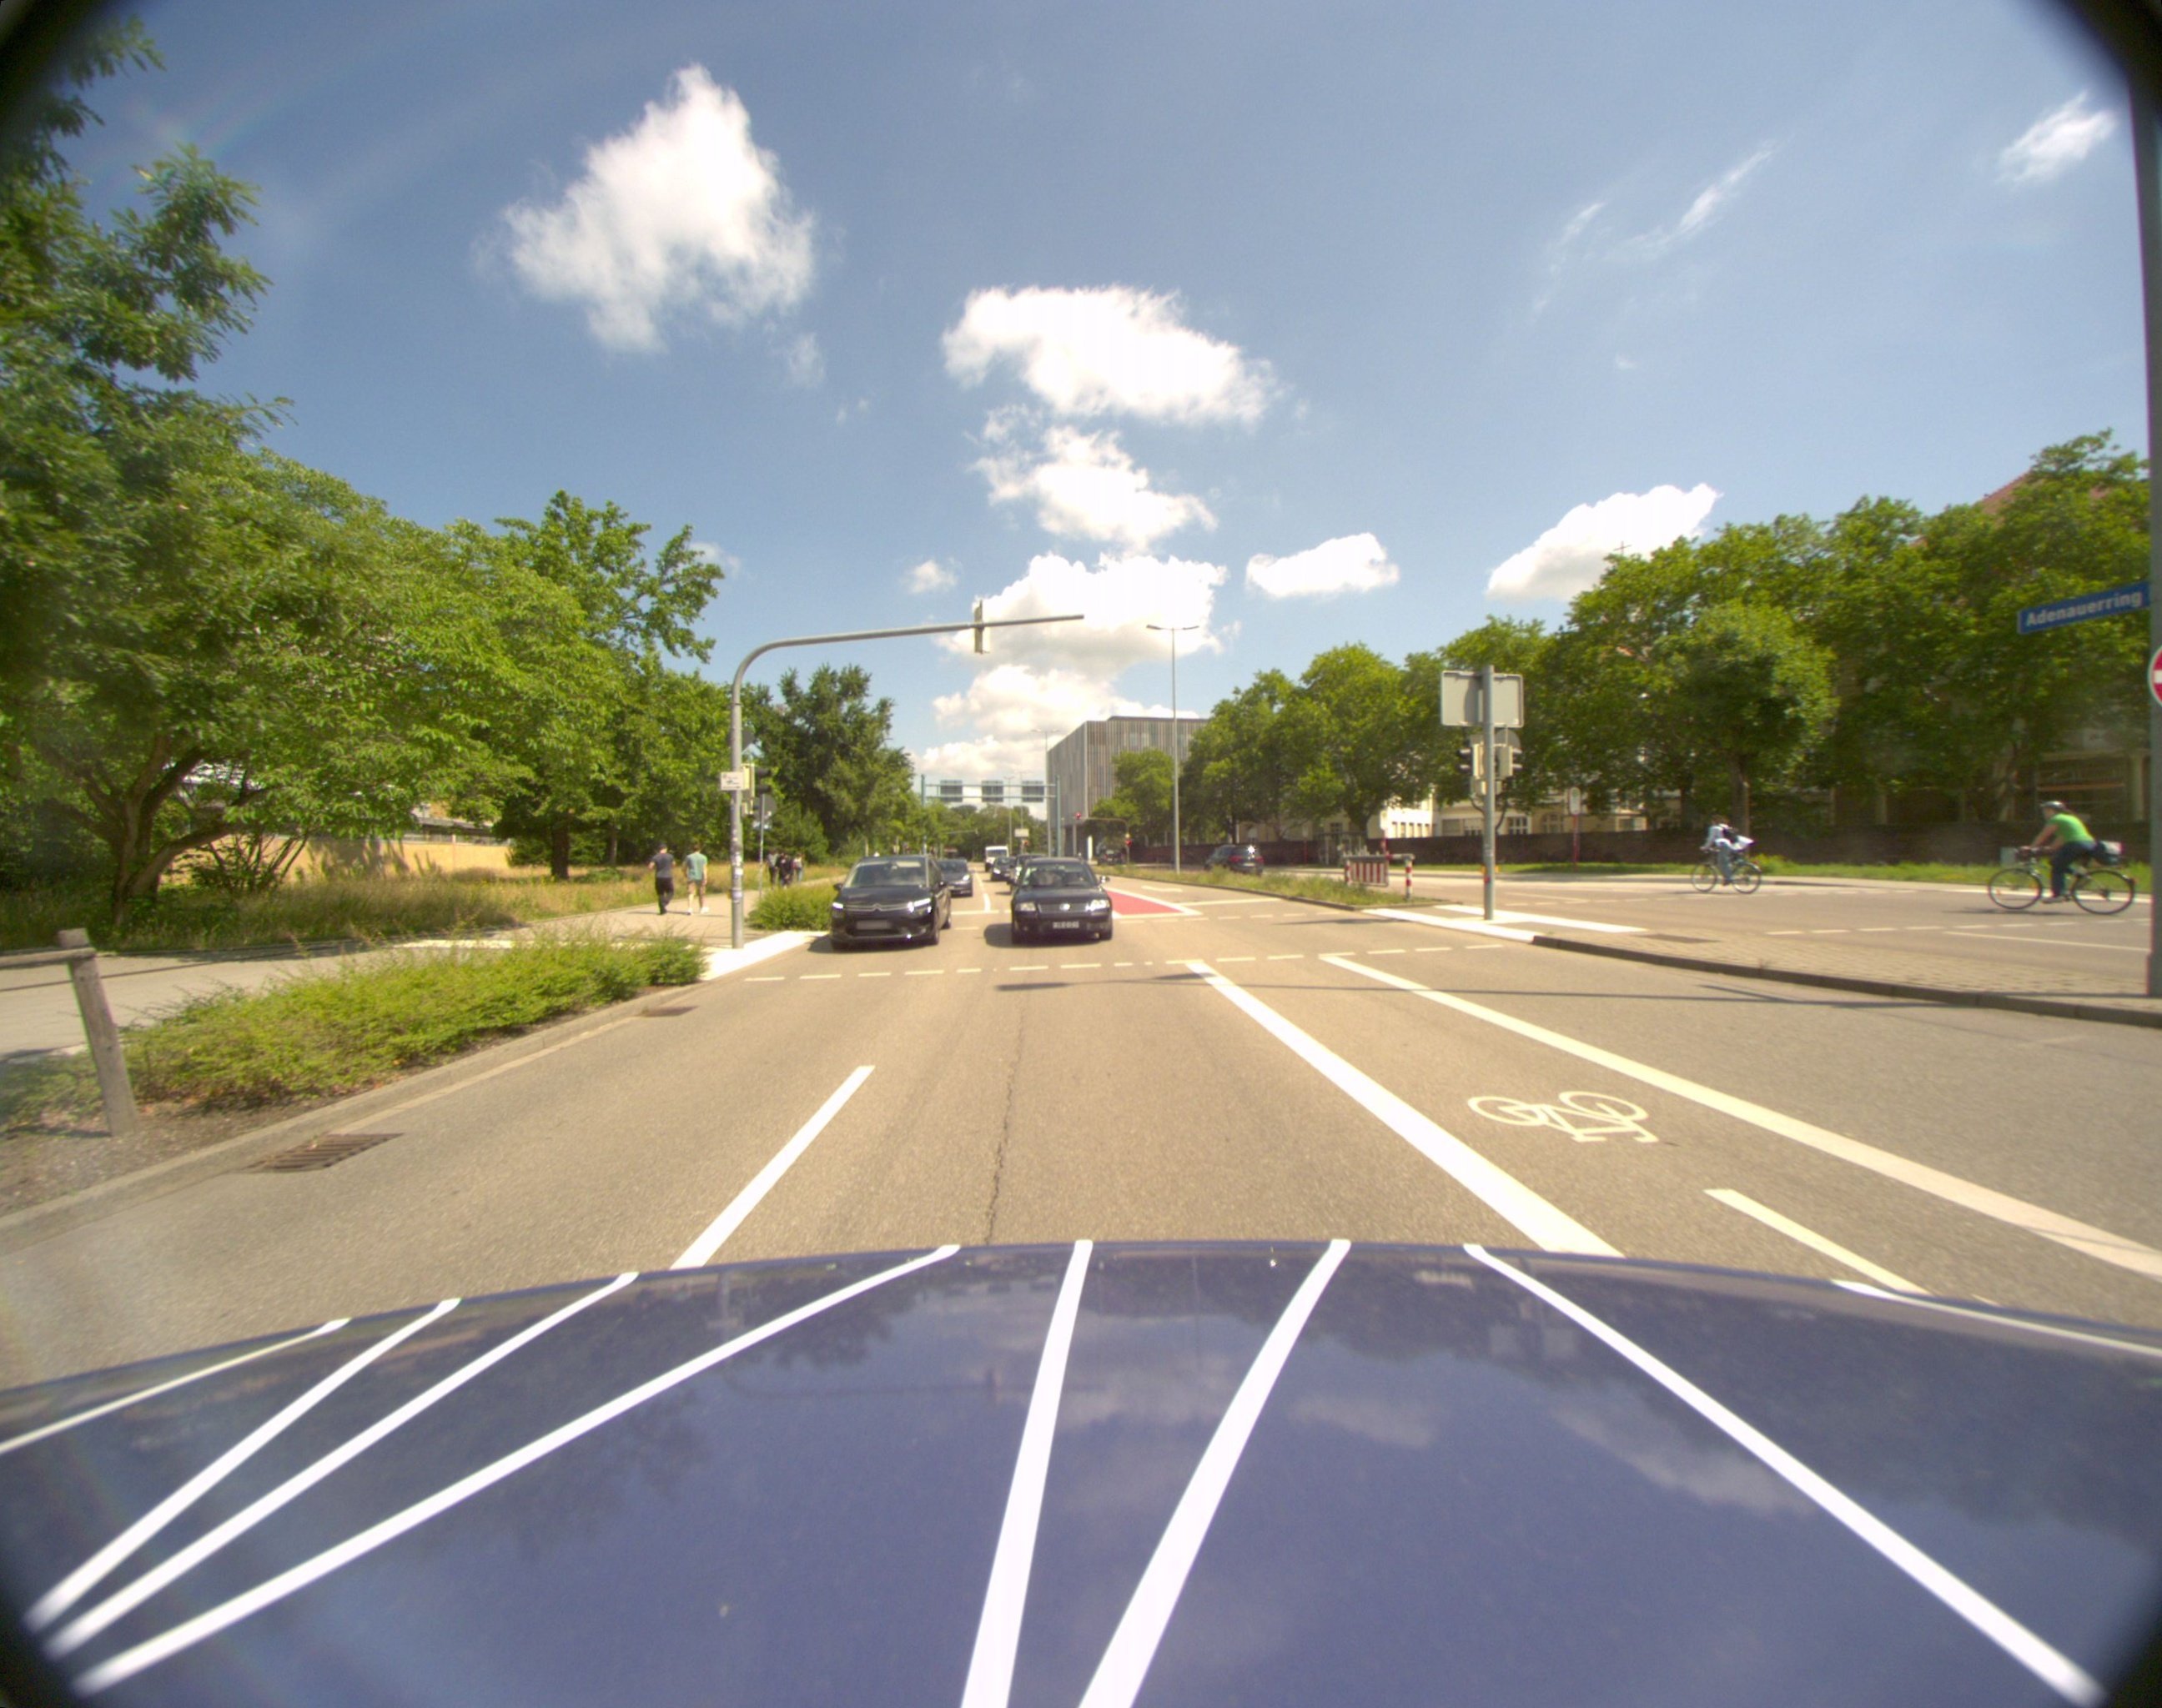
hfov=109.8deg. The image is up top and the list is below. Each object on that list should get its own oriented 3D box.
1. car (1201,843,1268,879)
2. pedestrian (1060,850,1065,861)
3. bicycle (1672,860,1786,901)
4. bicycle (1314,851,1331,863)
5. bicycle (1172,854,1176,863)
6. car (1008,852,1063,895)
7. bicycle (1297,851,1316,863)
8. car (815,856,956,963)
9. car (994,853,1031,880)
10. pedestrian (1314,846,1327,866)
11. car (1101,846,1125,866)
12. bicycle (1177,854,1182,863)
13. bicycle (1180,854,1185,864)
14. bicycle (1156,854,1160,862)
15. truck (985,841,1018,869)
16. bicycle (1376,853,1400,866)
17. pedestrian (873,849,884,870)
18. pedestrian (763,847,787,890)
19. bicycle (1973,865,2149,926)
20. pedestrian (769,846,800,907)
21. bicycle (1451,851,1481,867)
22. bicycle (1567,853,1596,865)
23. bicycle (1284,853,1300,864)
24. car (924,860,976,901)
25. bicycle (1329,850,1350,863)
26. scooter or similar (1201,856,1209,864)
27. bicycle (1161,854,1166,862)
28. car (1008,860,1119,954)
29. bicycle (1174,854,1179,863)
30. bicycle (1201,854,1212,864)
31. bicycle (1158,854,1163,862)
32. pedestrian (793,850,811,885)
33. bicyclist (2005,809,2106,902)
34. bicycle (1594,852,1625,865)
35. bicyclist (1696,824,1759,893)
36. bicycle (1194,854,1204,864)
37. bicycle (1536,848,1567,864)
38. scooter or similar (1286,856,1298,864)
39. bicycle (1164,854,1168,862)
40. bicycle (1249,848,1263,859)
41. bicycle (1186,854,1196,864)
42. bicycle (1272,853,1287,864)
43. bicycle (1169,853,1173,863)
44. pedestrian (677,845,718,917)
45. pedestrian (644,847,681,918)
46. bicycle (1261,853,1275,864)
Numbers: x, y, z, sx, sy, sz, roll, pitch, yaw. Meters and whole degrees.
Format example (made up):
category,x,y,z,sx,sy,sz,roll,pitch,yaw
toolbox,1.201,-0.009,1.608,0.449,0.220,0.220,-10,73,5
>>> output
category,x,y,z,sx,sy,sz,roll,pitch,yaw
car,7.468,0.351,37.368,1.887,1.614,4.152,-2,0,-9
pedestrian,-3.235,0.324,131.719,0.632,1.907,0.718,-2,2,-12
bicycle,15.376,0.608,18.121,0.778,0.884,2.107,-1,0,-6
bicycle,21.139,0.271,66.548,0.398,1.037,1.636,-1,1,-28
bicycle,11.221,0.498,91.633,0.382,1.101,1.672,-1,0,12
car,-1.924,0.741,30.696,1.753,1.496,4.516,-3,0,-9
bicycle,20.268,0.287,68.212,0.398,1.037,1.954,-1,1,-26
car,-3.524,0.900,14.535,1.863,1.613,4.518,-3,0,-6
car,-4.139,0.719,45.472,1.753,1.496,4.516,-3,0,-10
pedestrian,20.267,0.162,64.259,0.724,1.602,0.779,-1,1,-38
car,3.622,0.231,87.400,2.215,2.158,4.518,0,0,-5
bicycle,11.696,0.550,90.014,0.382,1.101,1.672,-1,0,12
bicycle,11.952,0.554,89.290,0.382,1.101,1.672,-1,0,12
bicycle,9.776,0.479,96.350,0.329,1.012,1.672,-1,0,12
truck,-7.157,0.119,67.926,2.464,2.287,5.811,-3,0,-9
bicycle,24.342,0.443,60.261,0.398,1.037,1.953,-1,1,-28
pedestrian,-18.003,0.476,67.588,0.845,1.755,0.841,-2,2,-9
pedestrian,-12.616,0.583,31.354,0.752,1.739,0.667,1,0,-9
bicycle,15.770,0.643,12.307,0.568,0.884,1.743,-1,0,-2
pedestrian,-8.585,0.652,22.036,0.668,1.739,0.847,1,0,-9
bicycle,27.769,0.357,54.834,0.398,1.130,2.034,-1,1,-33
bicycle,32.008,0.315,48.592,0.399,0.784,1.462,-1,1,-36
bicycle,19.449,0.408,69.983,0.398,1.037,1.758,-1,1,-24
car,-5.133,0.970,29.693,1.767,1.409,4.359,-3,0,-10
bicycle,22.028,0.222,64.867,0.398,1.037,1.953,-1,1,-28
scooter or similar,13.551,0.616,82.764,0.353,0.838,1.068,-1,1,-22
bicycle,10.303,0.496,94.757,0.329,1.012,1.672,-1,0,12
car,-0.457,0.869,14.428,1.752,1.426,4.518,-1,0,-5
bicycle,11.457,0.546,90.847,0.382,1.101,1.672,-1,0,12
bicycle,13.864,0.507,84.067,0.383,1.101,1.667,-1,1,-21
bicycle,10.024,0.473,95.651,0.329,1.012,1.672,-1,0,12
pedestrian,-13.799,0.659,37.553,0.668,1.739,0.877,1,0,-9
bicyclist,15.761,0.021,12.308,0.567,1.453,0.837,-1,0,-2
bicycle,32.898,0.275,47.318,0.399,0.784,1.540,-1,1,-36
bicyclist,15.375,0.099,18.081,0.778,1.609,0.842,-1,0,-6
bicycle,13.283,0.541,85.665,0.383,1.101,1.667,-1,1,-20
bicycle,30.955,0.109,49.986,0.399,1.024,1.683,-1,1,-36
scooter or similar,19.198,0.542,68.996,0.354,0.789,1.067,-1,1,-34
bicycle,10.522,0.516,94.070,0.329,1.012,1.672,-1,0,12
bicycle,17.291,-0.049,75.071,0.398,1.037,1.758,-1,1,-23
bicycle,12.699,0.570,87.609,0.383,1.101,1.667,-1,1,-18
bicycle,18.723,0.447,71.652,0.398,0.998,1.758,-1,1,-23
bicycle,10.894,0.493,92.024,0.382,1.101,1.672,-1,0,12
pedestrian,-9.649,0.679,19.145,0.752,1.767,0.880,1,0,-15
pedestrian,-10.304,0.692,18.726,0.669,1.736,0.609,1,0,-15
bicycle,18.044,0.406,73.248,0.398,1.037,1.580,-1,1,-23
